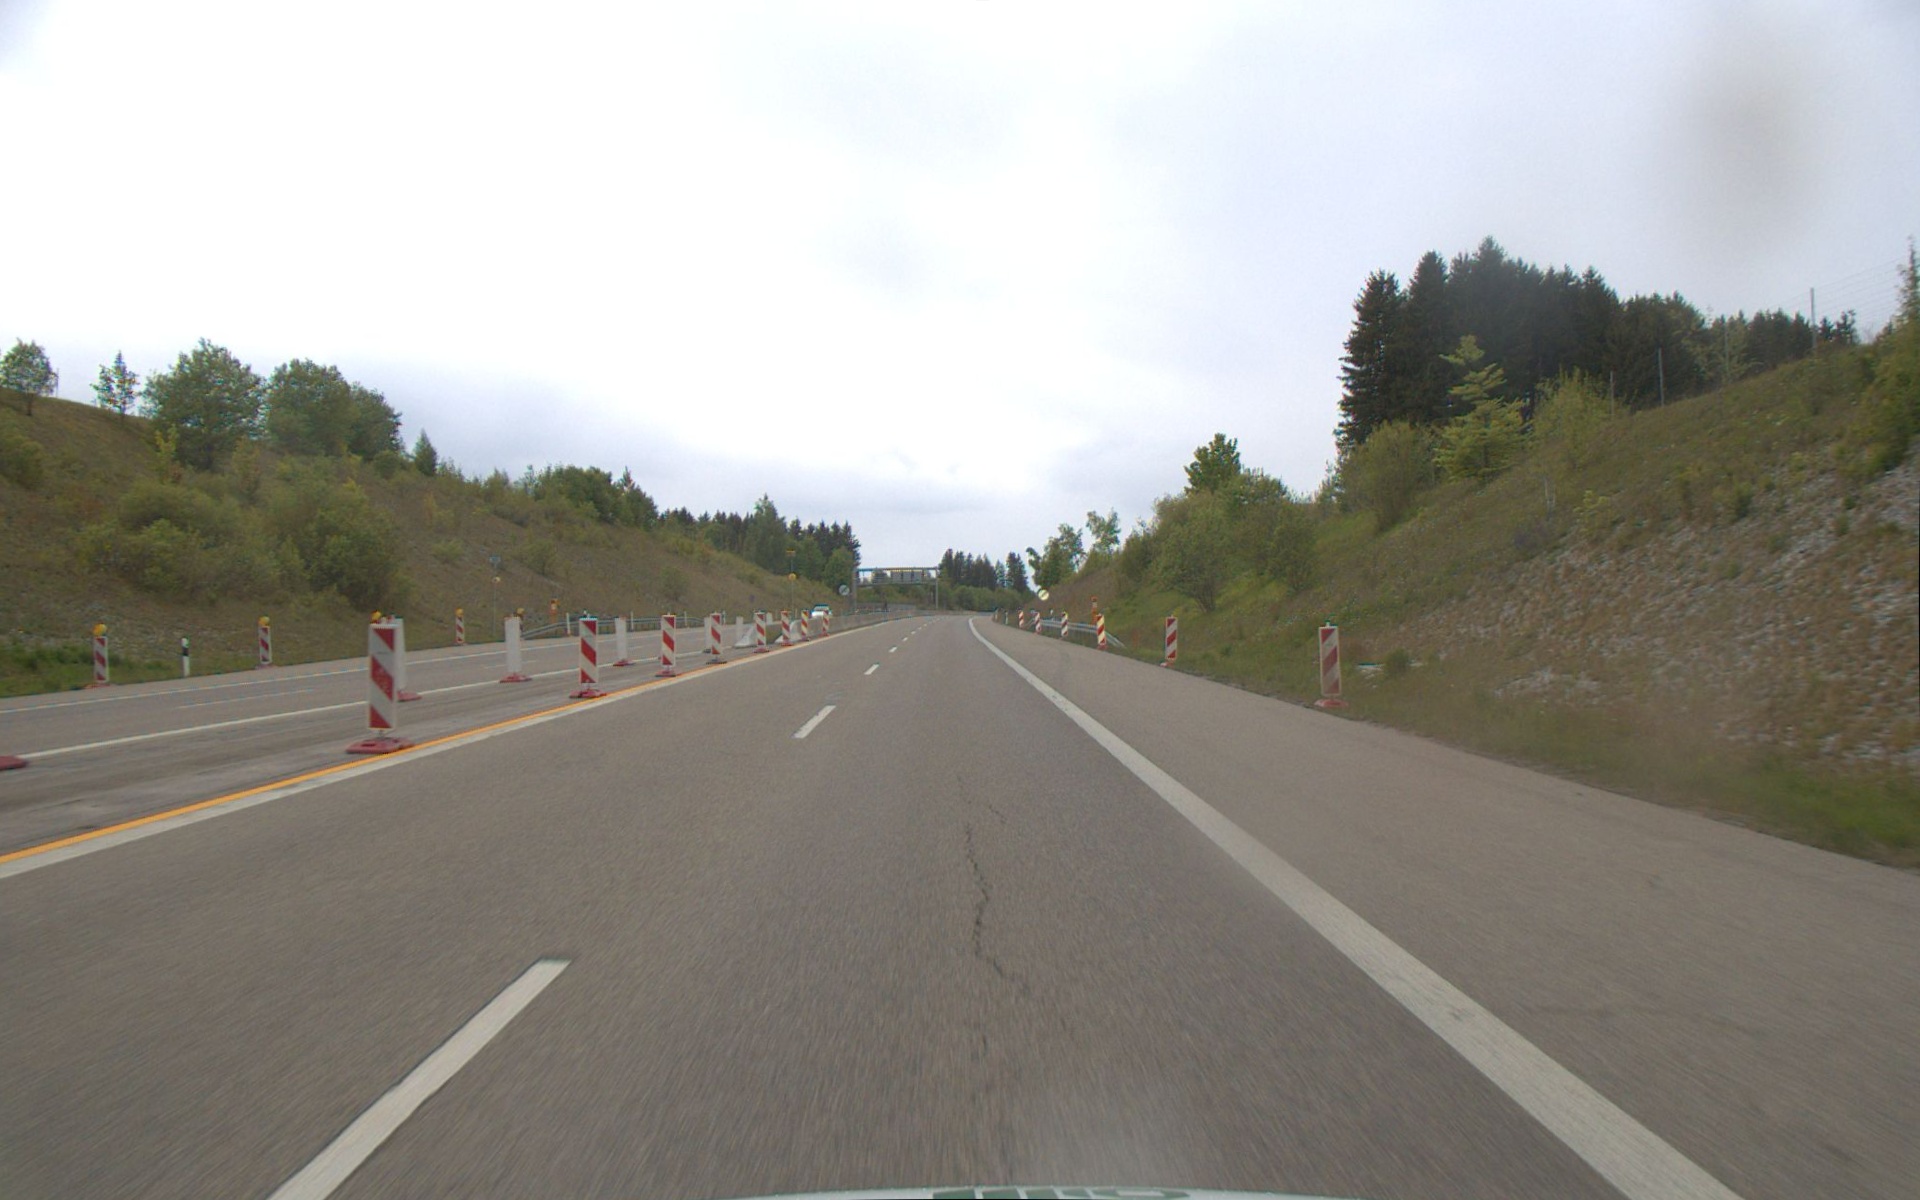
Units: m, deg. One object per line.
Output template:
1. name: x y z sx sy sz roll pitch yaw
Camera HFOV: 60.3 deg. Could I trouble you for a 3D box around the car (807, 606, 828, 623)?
1. car: -15.083 1.549 175.190 1.875 1.629 4.165 -1 -1 -1
